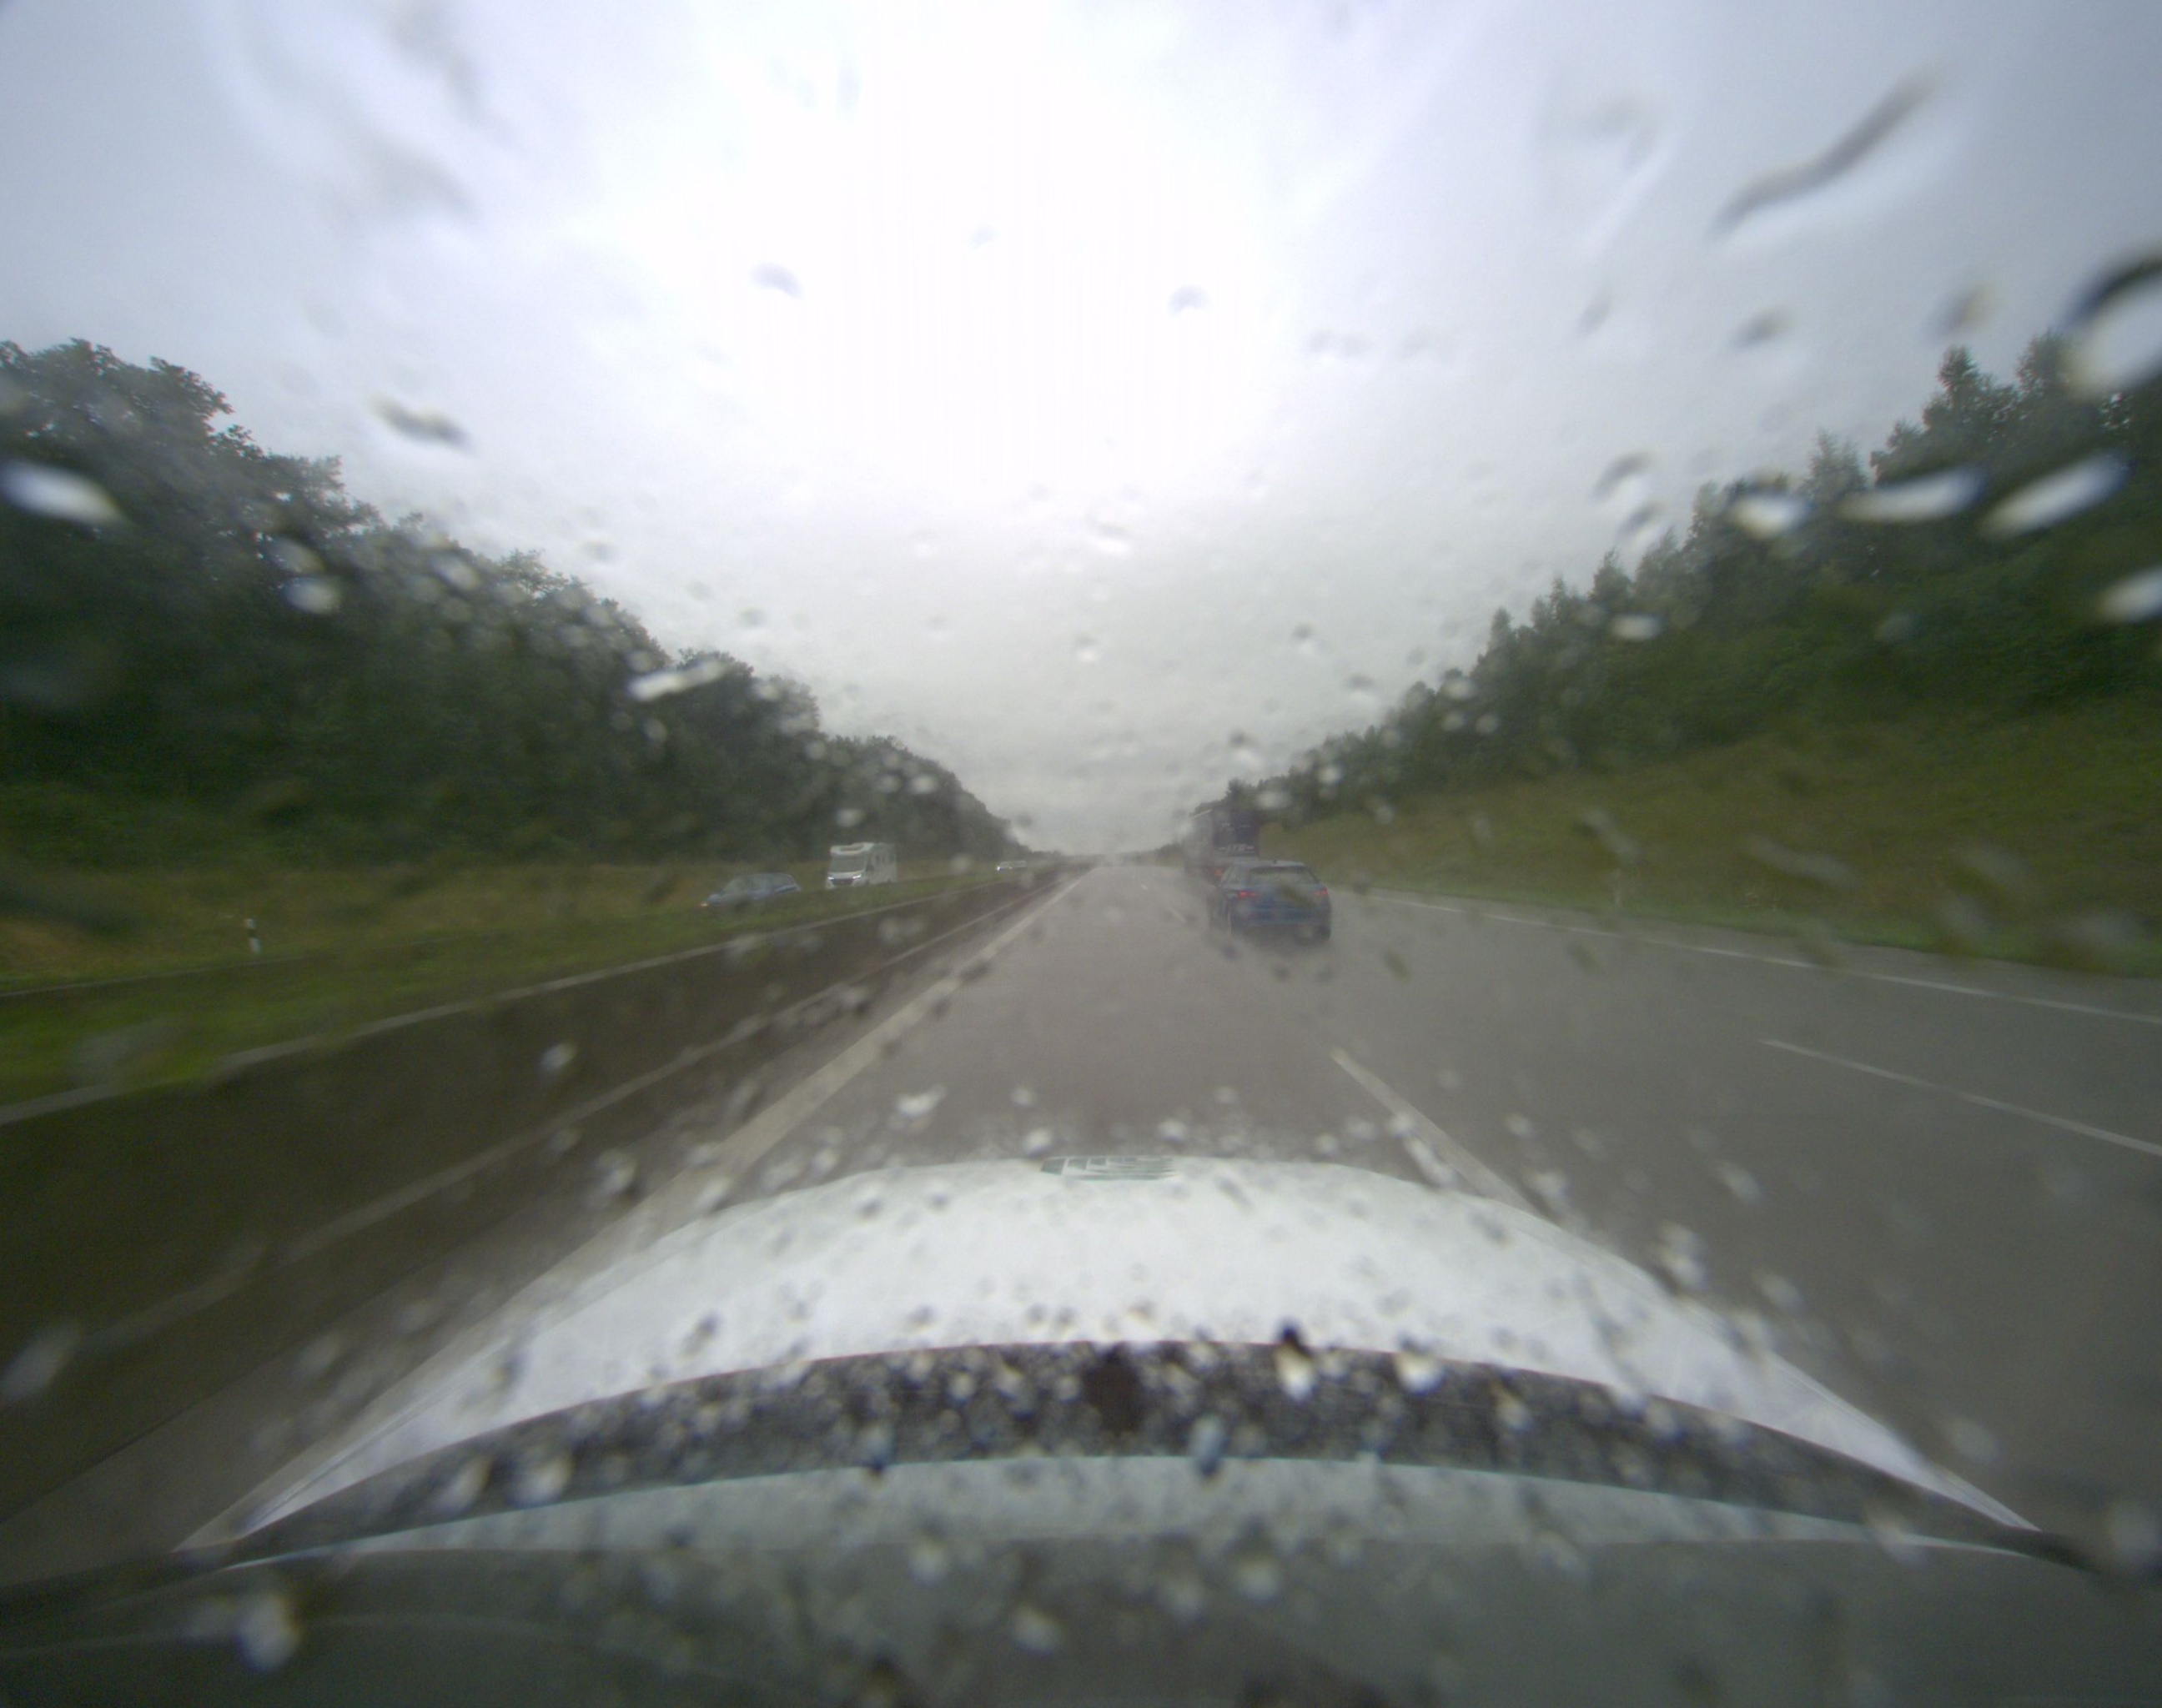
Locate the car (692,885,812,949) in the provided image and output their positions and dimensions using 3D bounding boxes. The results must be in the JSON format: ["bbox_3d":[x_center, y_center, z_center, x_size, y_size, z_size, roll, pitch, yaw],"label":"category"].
[{"bbox_3d":[-9.783,1.818,24.610,1.658,1.516,4.467,-2,0,1],"label":"car"}]

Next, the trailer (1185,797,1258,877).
[{"bbox_3d":[8.757,-0.864,52.779,2.696,4.380,15.212,0,-1,2],"label":"trailer"}]

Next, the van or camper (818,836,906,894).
[{"bbox_3d":[-11.690,0.582,44.196,2.403,2.736,7.715,-3,-1,1],"label":"van or camper"}]

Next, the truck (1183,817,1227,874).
[{"bbox_3d":[9.068,-0.566,60.076,2.626,3.954,5.689,-1,-1,2],"label":"truck"}]

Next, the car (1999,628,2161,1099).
[{"bbox_3d":[6.952,0.056,2.117,1.933,2.659,6.590,0,0,3],"label":"car"}]

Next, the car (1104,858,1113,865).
[{"bbox_3d":[5.464,1.445,163.873,1.723,1.331,4.431,-1,0,2],"label":"car"}]

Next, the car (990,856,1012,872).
[{"bbox_3d":[-9.257,1.113,94.432,1.872,1.665,4.689,-3,0,2],"label":"car"}]

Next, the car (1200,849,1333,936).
[{"bbox_3d":[3.568,0.720,16.533,1.723,1.459,4.673,-2,-1,2],"label":"car"}]
